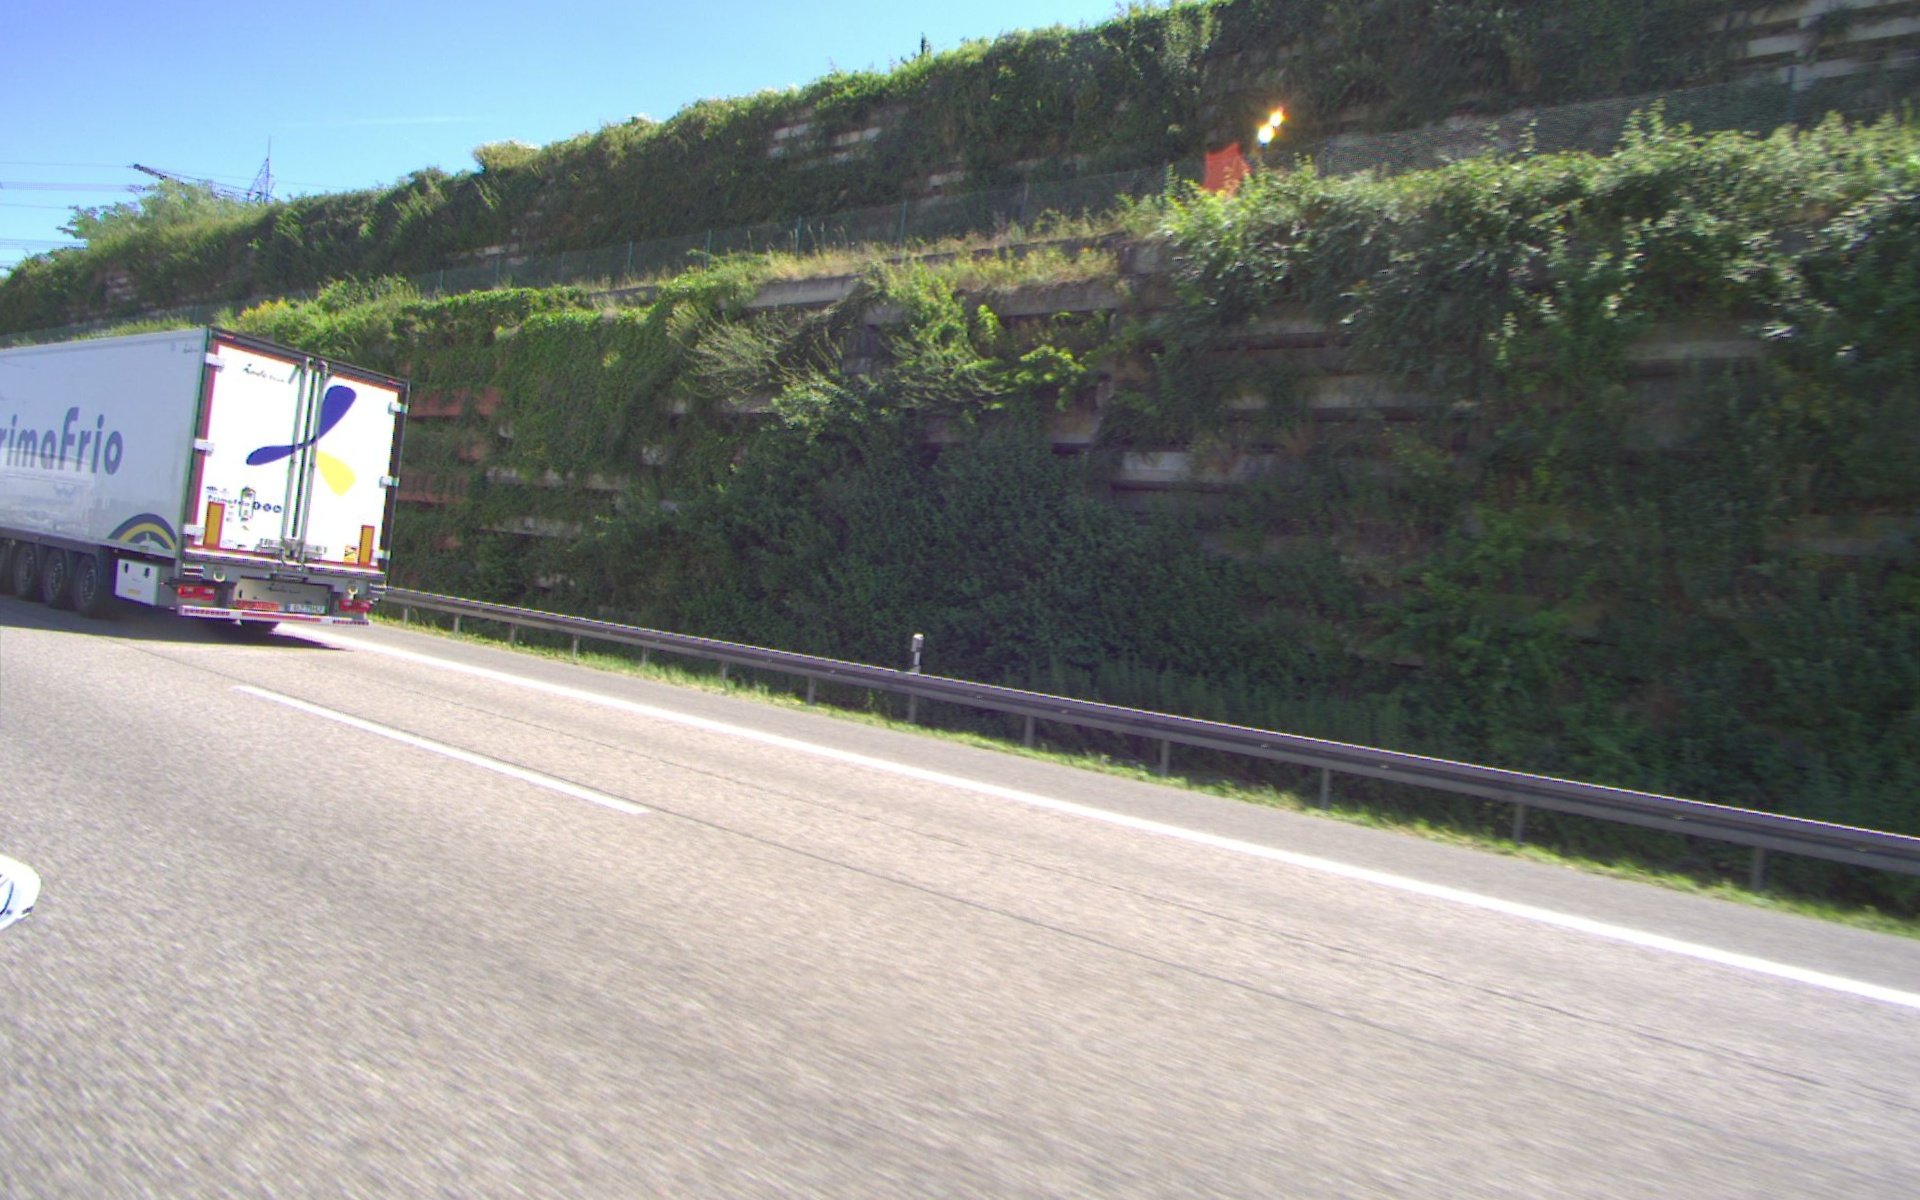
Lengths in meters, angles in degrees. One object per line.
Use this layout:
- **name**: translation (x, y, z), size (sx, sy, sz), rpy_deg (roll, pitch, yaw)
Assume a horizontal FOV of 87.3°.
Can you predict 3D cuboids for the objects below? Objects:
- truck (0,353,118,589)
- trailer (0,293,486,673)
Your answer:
- **truck**: translation (-20.679, -2.763, 21.114), size (6.154, 4.268, 2.512), rpy_deg (6, -2, 33)
- **trailer**: translation (-14.303, -2.057, 16.996), size (16.748, 4.262, 2.518), rpy_deg (7, -1, 33)
